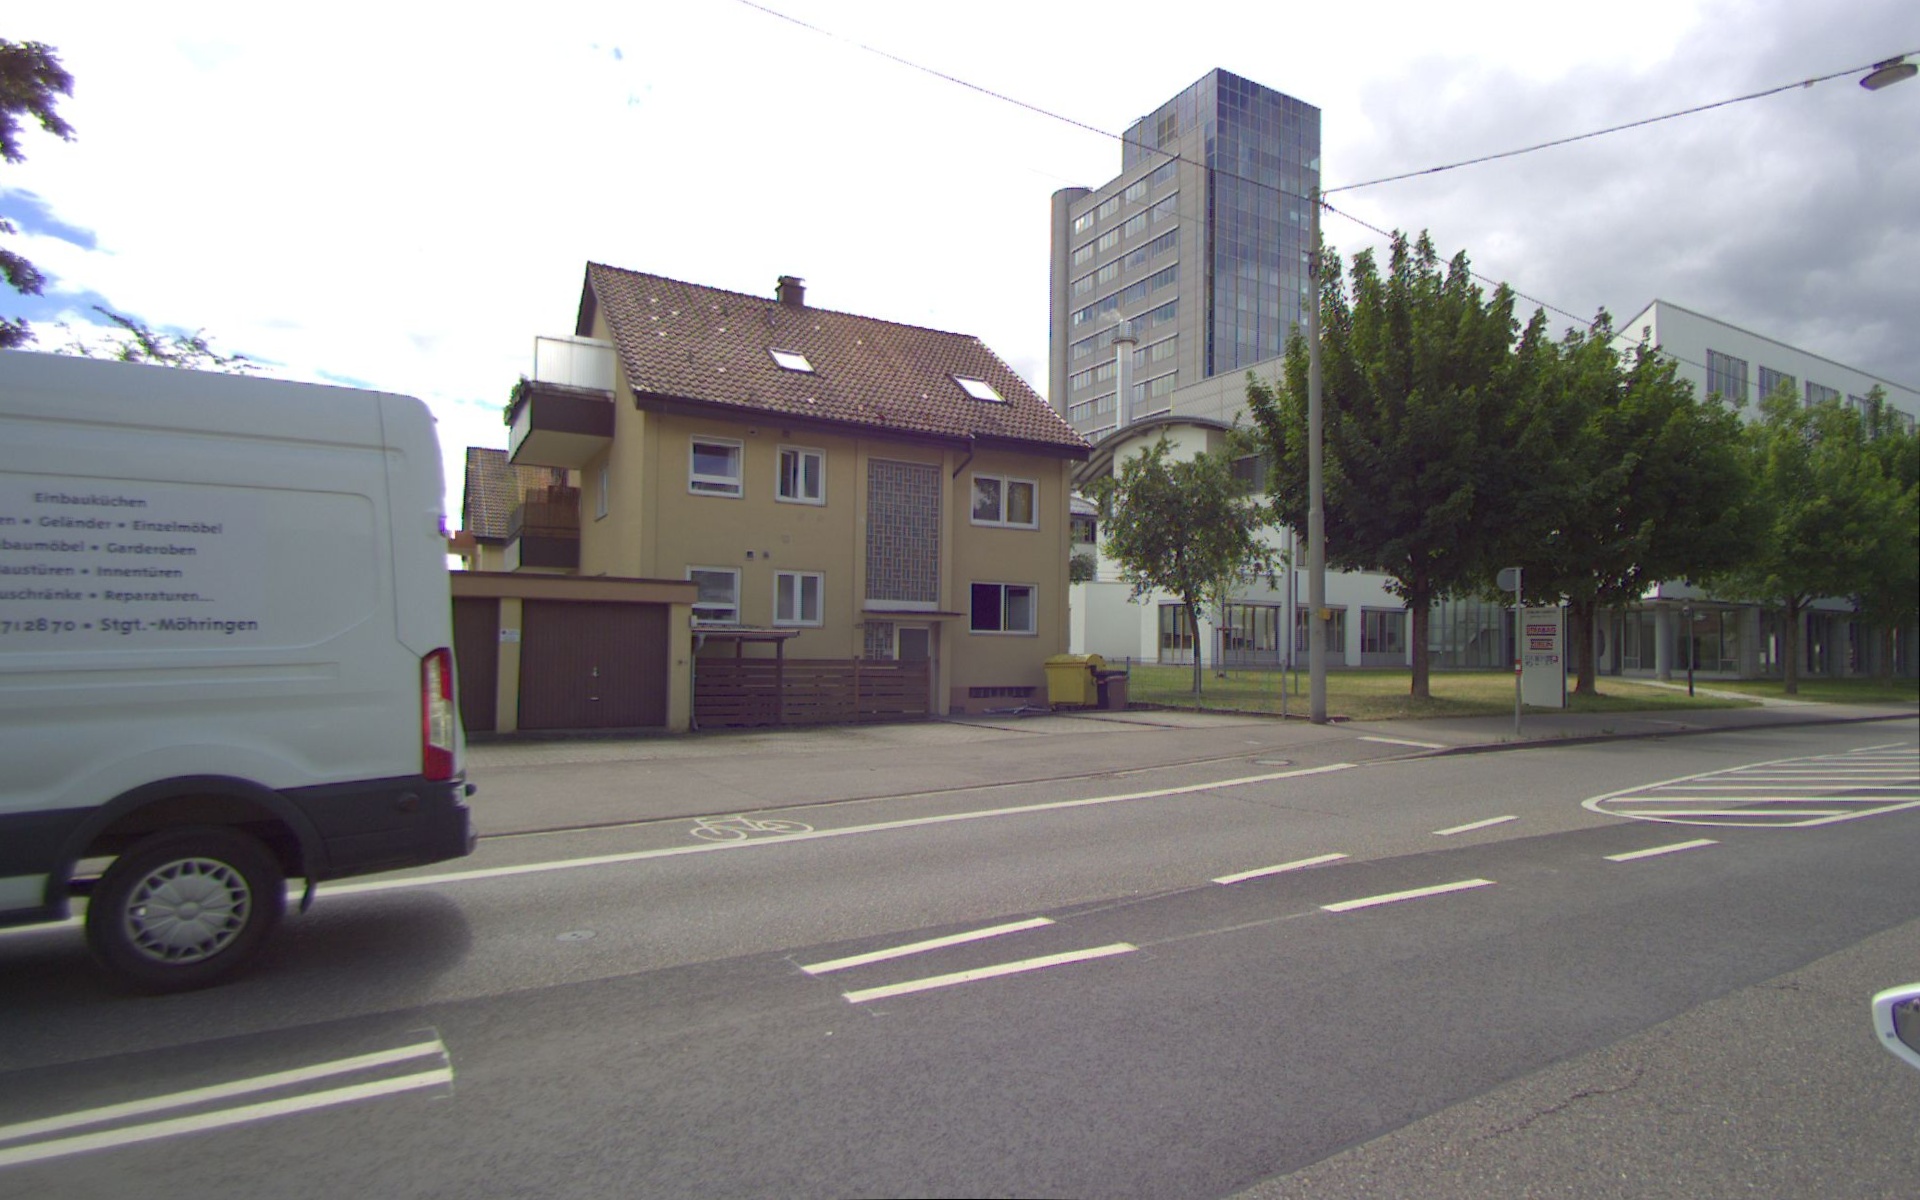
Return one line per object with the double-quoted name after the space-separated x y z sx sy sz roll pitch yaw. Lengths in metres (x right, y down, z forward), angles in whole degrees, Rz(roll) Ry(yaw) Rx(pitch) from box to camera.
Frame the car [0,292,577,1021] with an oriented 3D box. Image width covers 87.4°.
-5.090 0.229 4.324 6.085 2.856 2.131 3 -4 -34 "car"
